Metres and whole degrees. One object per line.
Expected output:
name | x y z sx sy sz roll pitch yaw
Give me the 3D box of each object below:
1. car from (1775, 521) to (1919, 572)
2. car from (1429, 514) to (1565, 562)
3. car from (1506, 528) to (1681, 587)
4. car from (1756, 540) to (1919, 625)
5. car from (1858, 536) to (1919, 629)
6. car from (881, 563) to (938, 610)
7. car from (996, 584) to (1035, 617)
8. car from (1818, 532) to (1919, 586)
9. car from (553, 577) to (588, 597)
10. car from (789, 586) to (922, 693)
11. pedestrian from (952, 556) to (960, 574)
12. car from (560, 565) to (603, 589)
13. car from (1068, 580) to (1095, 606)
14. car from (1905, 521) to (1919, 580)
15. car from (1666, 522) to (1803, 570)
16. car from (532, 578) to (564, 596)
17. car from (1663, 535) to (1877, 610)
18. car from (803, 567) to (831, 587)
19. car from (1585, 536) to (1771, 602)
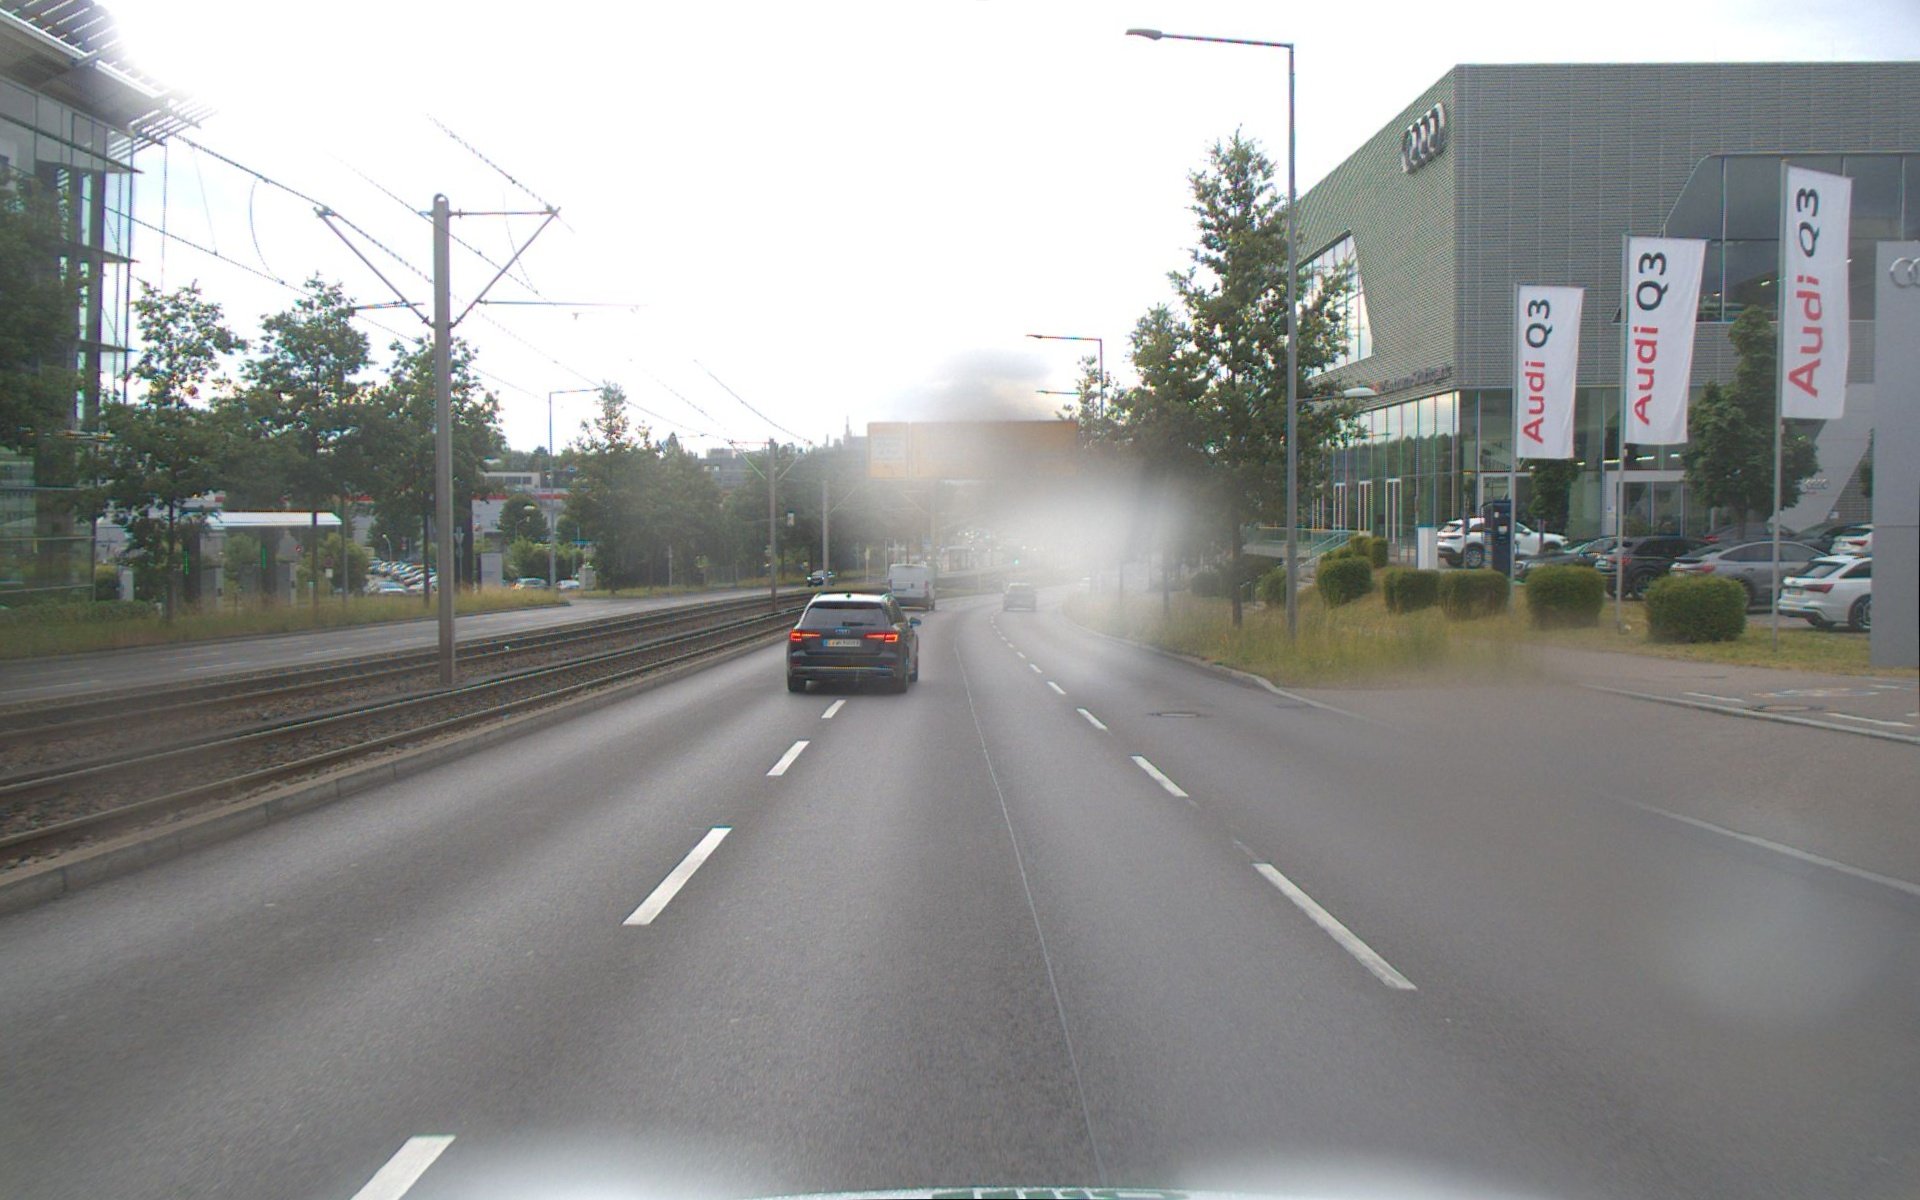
car | 29.062 -1.740 54.052 4.022 1.601 1.759 0 1 -2
car | 18.725 -2.144 57.772 4.173 1.601 1.692 0 1 -2
car | 18.005 -1.199 47.119 4.331 1.601 1.692 0 1 -2
car | 18.202 -0.335 32.401 4.428 1.622 1.692 0 0 -2
car | 18.620 -0.290 29.791 4.022 1.622 1.692 0 0 -2
car | -2.511 -0.659 83.412 2.459 2.215 5.151 1 0 2
car | 2.930 0.021 87.161 1.979 1.651 4.001 1 0 2
car | 28.661 -1.238 50.538 4.022 1.601 1.692 0 1 -2
car | -32.070 -1.086 136.246 1.969 1.536 3.967 1 0 -26
car | -1.515 0.532 25.479 1.728 1.489 4.627 1 0 0
pedestrian | -0.430 -3.634 173.150 0.623 1.886 0.751 1 0 11
car | -27.743 -1.664 121.269 1.951 1.679 4.002 1 0 4
car | 9.488 -0.550 128.581 1.978 1.800 4.004 1 3 5
car | 28.205 -1.330 44.940 4.022 1.601 1.825 0 1 -2
car | 27.230 -1.889 58.232 4.022 1.601 1.692 0 1 -2
car | -36.712 -1.156 147.390 1.969 1.536 3.967 1 0 -26
car | 18.295 -0.634 37.469 4.022 1.636 1.692 0 1 -2
car | -12.505 -2.025 144.865 1.844 1.547 4.405 -3 1 2
car | 18.309 -0.795 42.258 4.022 1.601 1.692 0 1 -2
